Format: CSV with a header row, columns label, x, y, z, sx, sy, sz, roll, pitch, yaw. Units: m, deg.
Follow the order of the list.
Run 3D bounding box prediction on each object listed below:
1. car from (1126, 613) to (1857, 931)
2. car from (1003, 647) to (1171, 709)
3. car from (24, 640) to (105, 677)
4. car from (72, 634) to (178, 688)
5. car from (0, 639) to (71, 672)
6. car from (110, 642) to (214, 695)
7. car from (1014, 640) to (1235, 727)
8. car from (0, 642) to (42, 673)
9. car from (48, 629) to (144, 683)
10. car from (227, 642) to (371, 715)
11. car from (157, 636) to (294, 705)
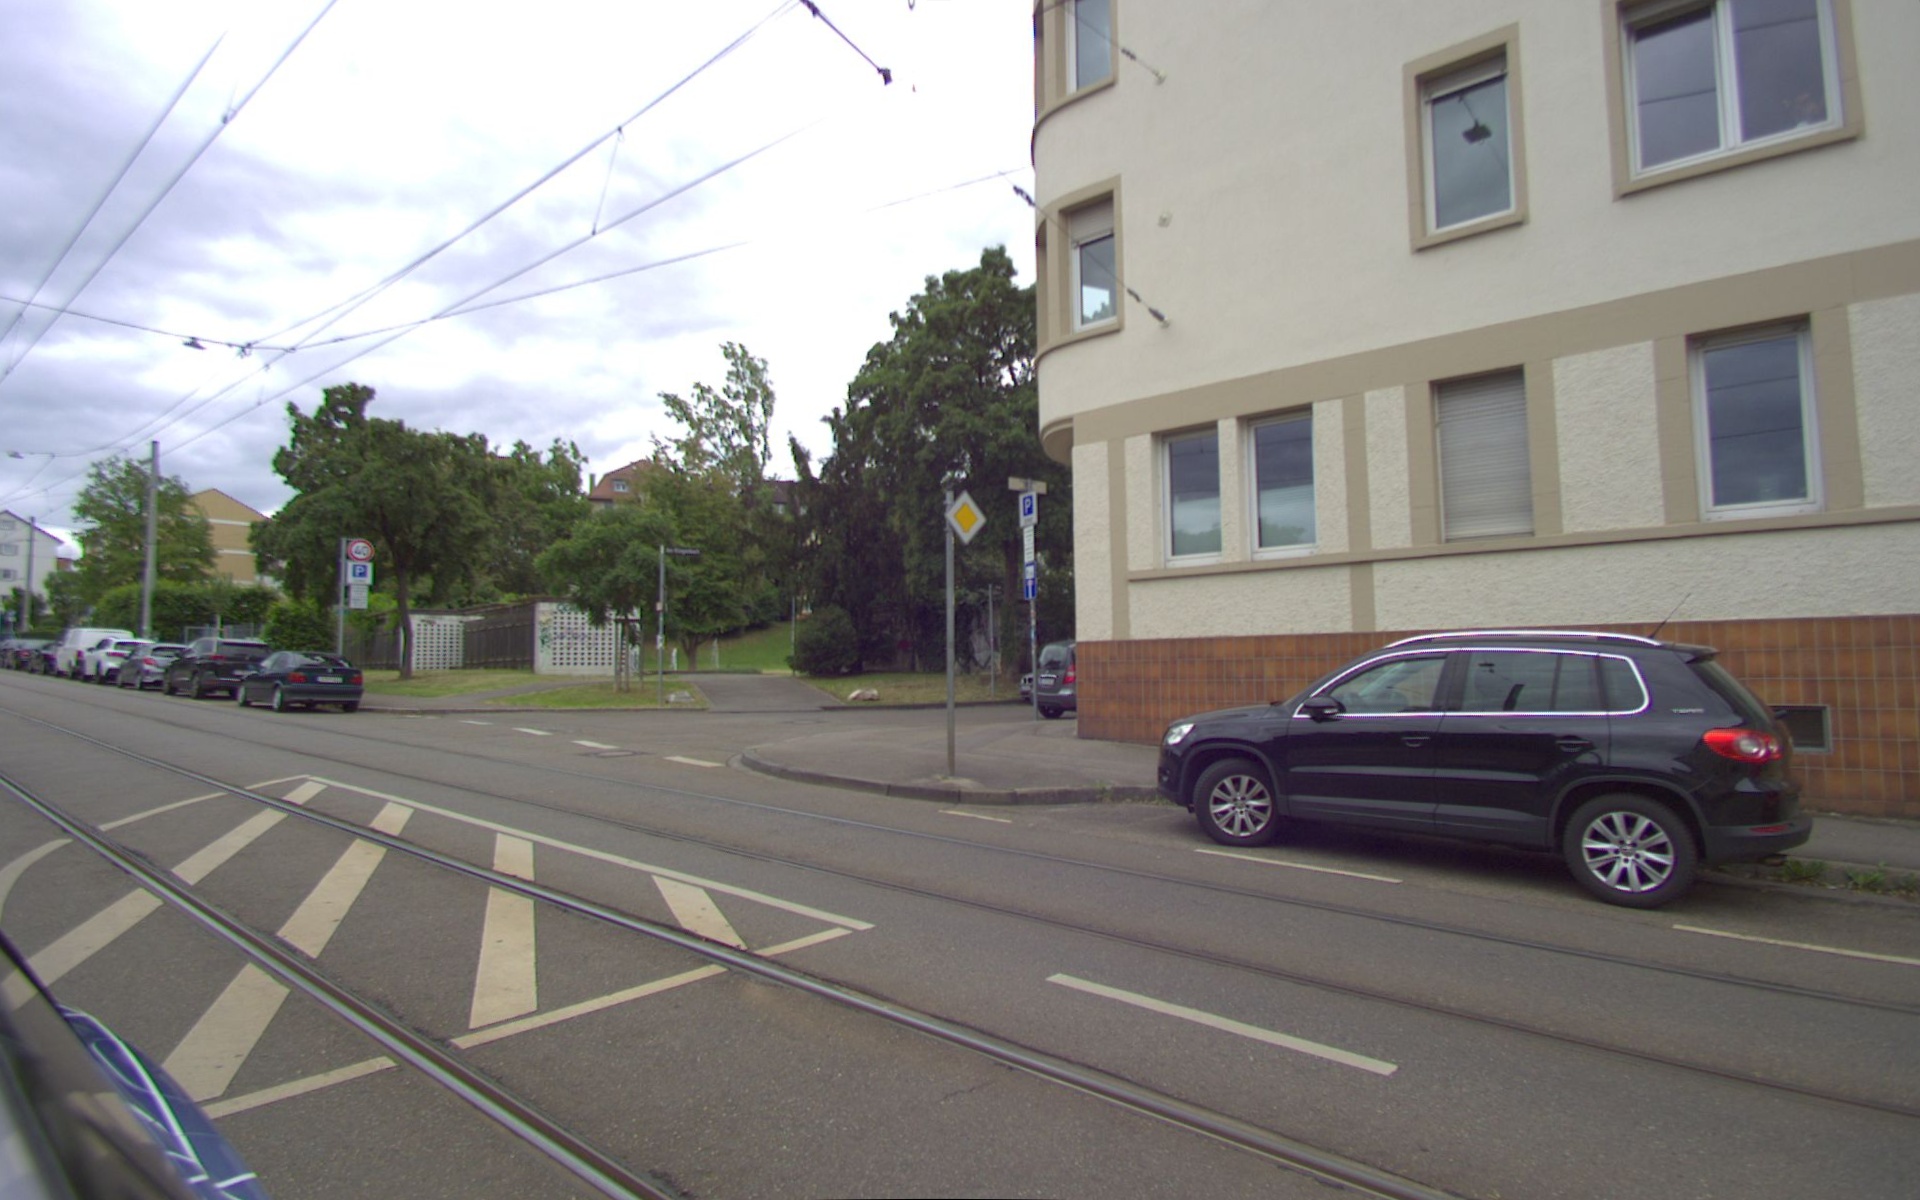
label,x,y,z,sx,sy,sz,roll,pitch,yaw
car,3.632,0.984,7.497,4.398,1.658,1.849,0,-4,39
car,3.299,1.995,26.352,3.930,1.451,1.766,0,-3,-24
car,-38.153,2.481,43.065,4.513,1.398,1.821,0,-4,39
car,-29.537,2.134,35.747,4.628,1.699,1.949,0,-4,39
car,-43.005,2.561,46.994,4.436,1.398,1.821,0,-4,39
car,-25.385,2.155,32.152,3.865,1.520,1.721,0,-4,39
car,3.255,1.617,20.102,3.930,1.584,1.882,2,-3,-23
car,-47.753,2.860,50.825,4.157,1.415,1.772,0,-4,39
car,-33.751,2.167,39.478,4.730,1.927,1.949,0,-4,39
car,-15.623,1.806,23.846,4.152,1.489,1.604,0,-4,39
car,-20.490,1.911,28.169,4.440,1.699,1.949,0,-4,39
